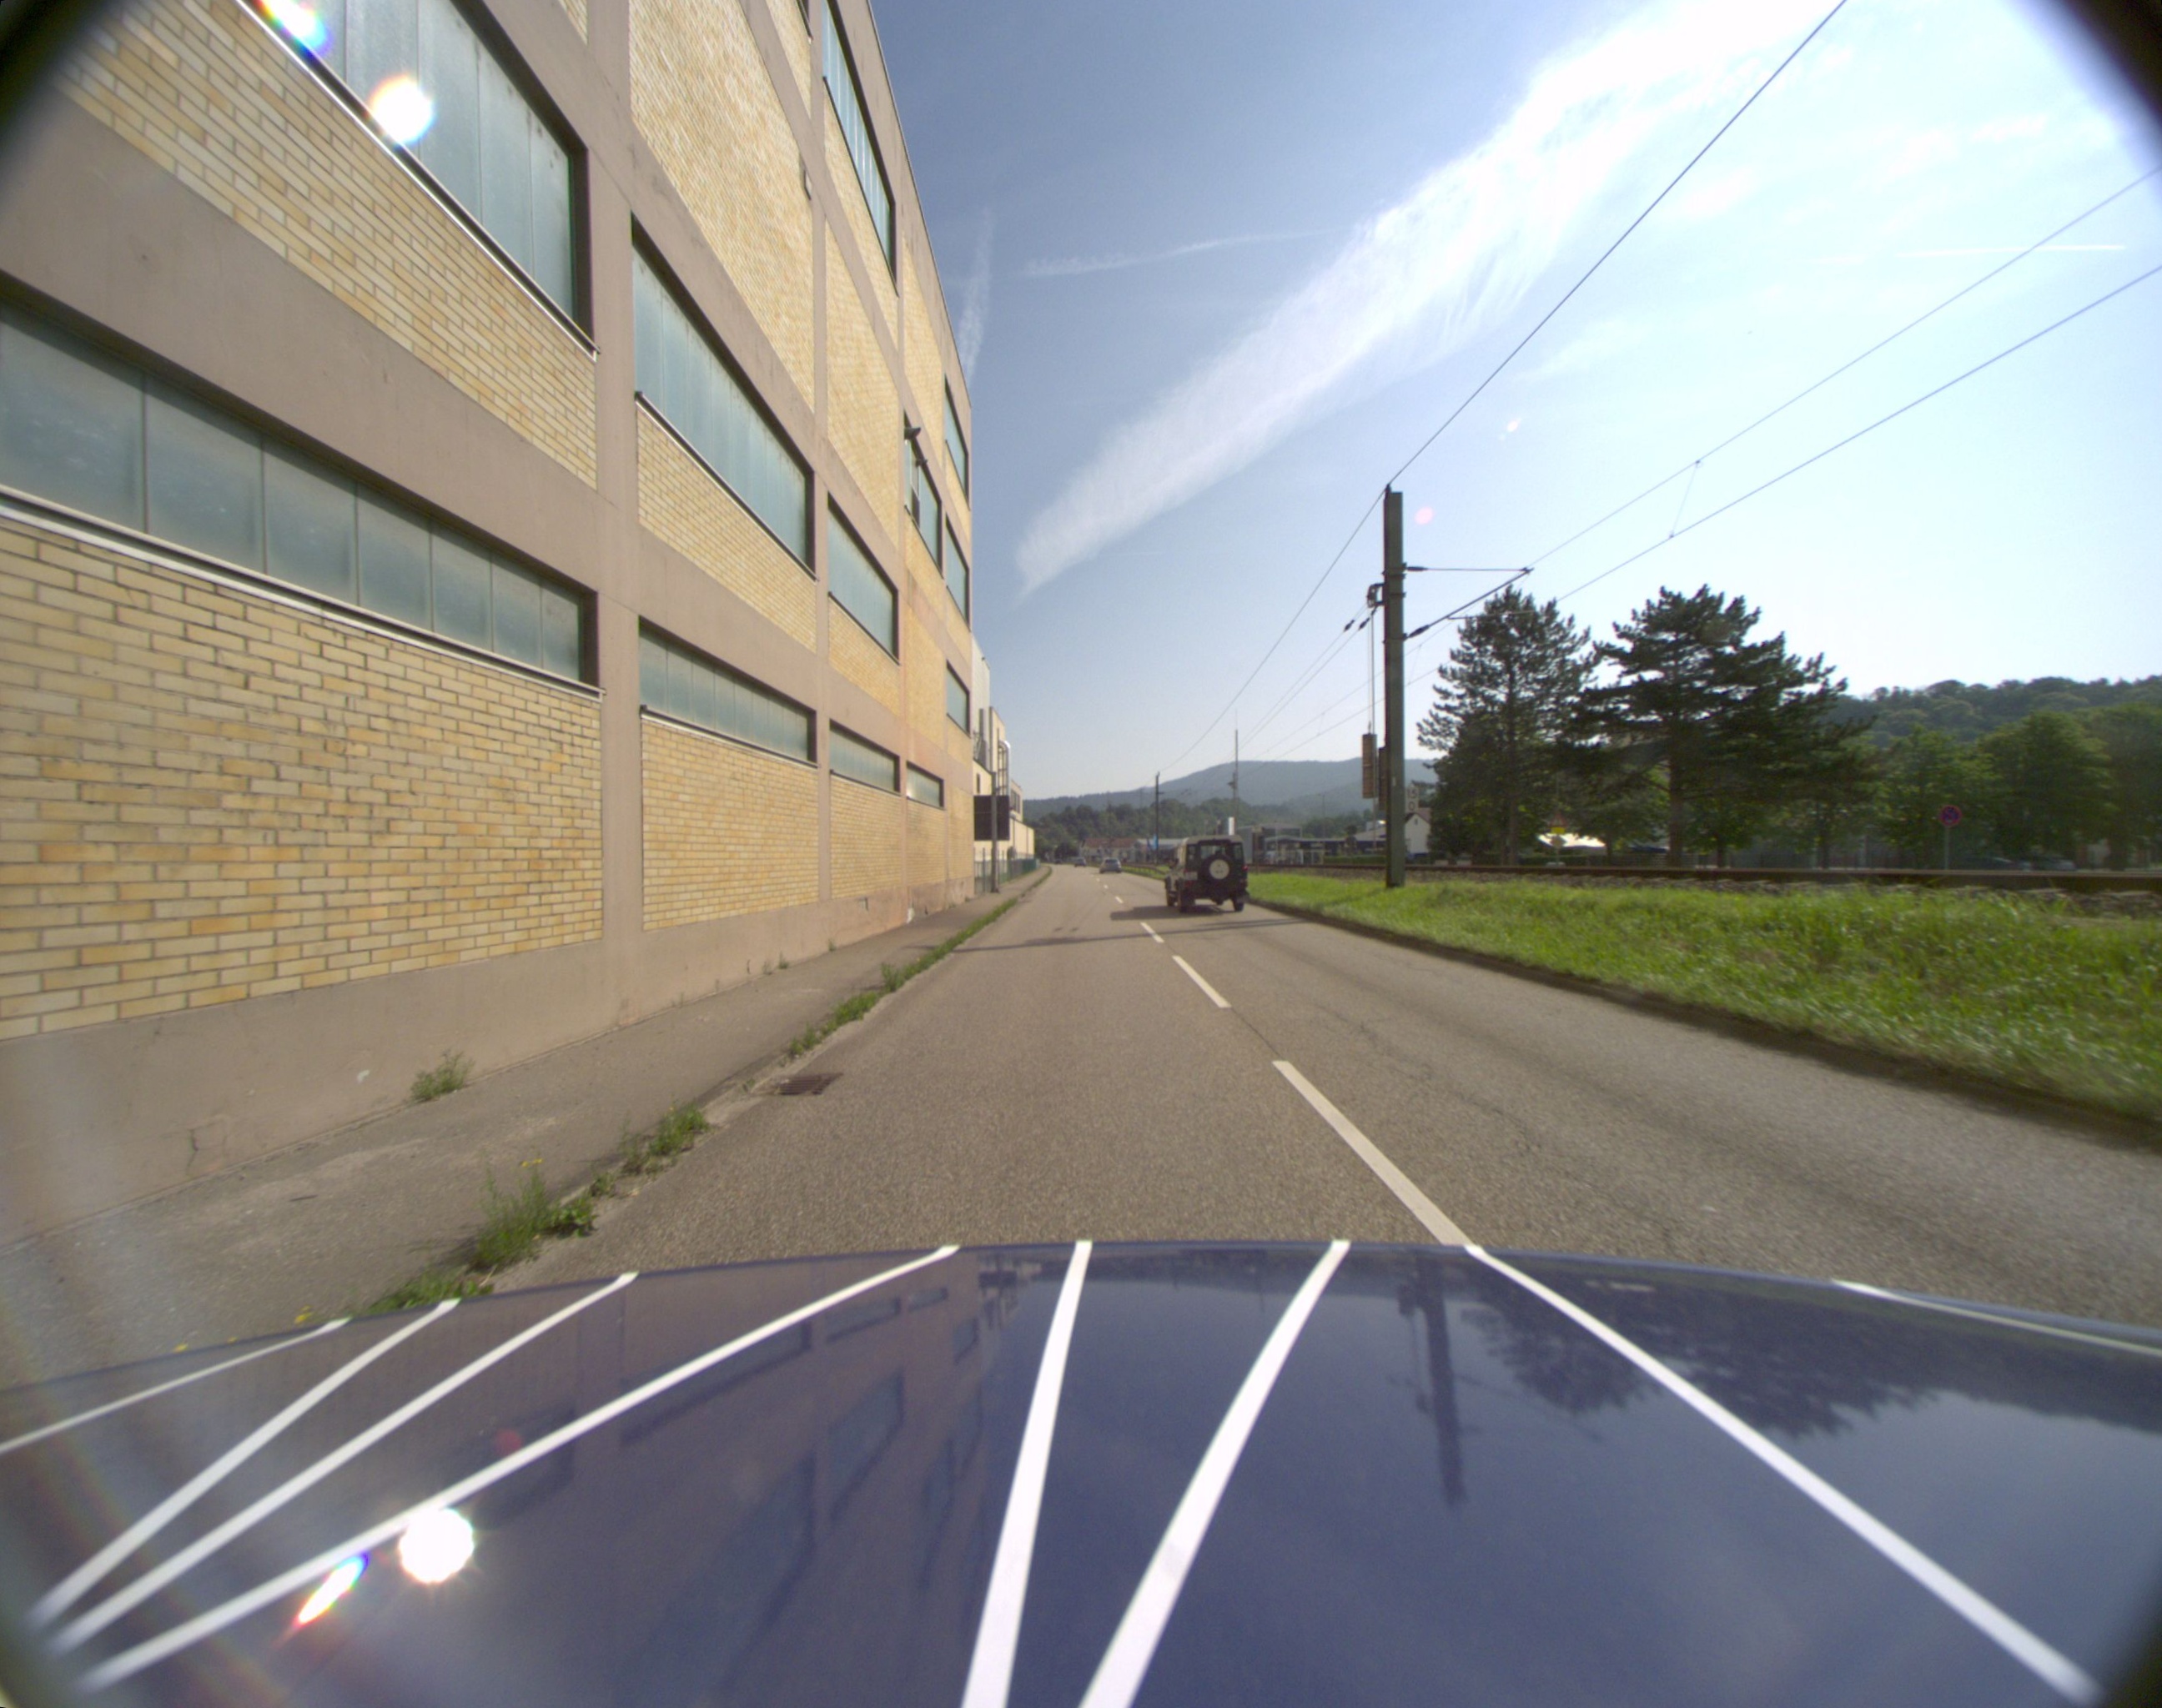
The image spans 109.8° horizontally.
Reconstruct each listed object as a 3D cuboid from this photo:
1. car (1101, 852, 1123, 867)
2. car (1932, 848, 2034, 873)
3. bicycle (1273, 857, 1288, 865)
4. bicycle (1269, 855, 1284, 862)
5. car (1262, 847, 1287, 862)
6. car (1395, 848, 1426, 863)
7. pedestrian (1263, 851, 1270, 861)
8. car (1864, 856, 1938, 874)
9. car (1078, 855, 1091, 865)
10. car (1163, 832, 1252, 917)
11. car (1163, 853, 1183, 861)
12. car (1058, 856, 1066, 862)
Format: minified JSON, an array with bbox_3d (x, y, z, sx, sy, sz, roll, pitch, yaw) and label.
[{"bbox_3d":[2.886,0.521,71.065,1.772,1.397,4.296,0,0,-2],"label":"car"},{"bbox_3d":[58.364,0.393,49.269,1.684,1.539,3.996,0,0,-9],"label":"car"},{"bbox_3d":[31.114,1.062,118.322,2.175,1.124,0.729,0,1,-14],"label":"bicycle"},{"bbox_3d":[31.504,0.761,122.402,2.175,1.124,0.729,0,1,-14],"label":"bicycle"},{"bbox_3d":[36.109,0.108,141.890,2.380,2.618,6.155,0,2,-7],"label":"car"},{"bbox_3d":[29.443,0.117,67.977,1.394,1.344,2.893,0,0,-5],"label":"car"},{"bbox_3d":[23.751,0.219,97.326,0.575,1.324,0.673,0,0,-9],"label":"pedestrian"},{"bbox_3d":[68.832,0.875,63.852,1.472,1.444,3.990,0,0,-32],"label":"car"},{"bbox_3d":[0.645,1.025,128.339,1.912,1.591,4.568,-1,1,-3],"label":"car"},{"bbox_3d":[3.458,0.515,21.568,1.762,2.066,4.808,-2,0,1],"label":"car"},{"bbox_3d":[20.798,0.673,171.802,3.968,1.519,1.662,-3,1,-7],"label":"car"},{"bbox_3d":[-4.868,1.319,194.127,1.769,1.395,4.117,-1,0,-7],"label":"car"}]
